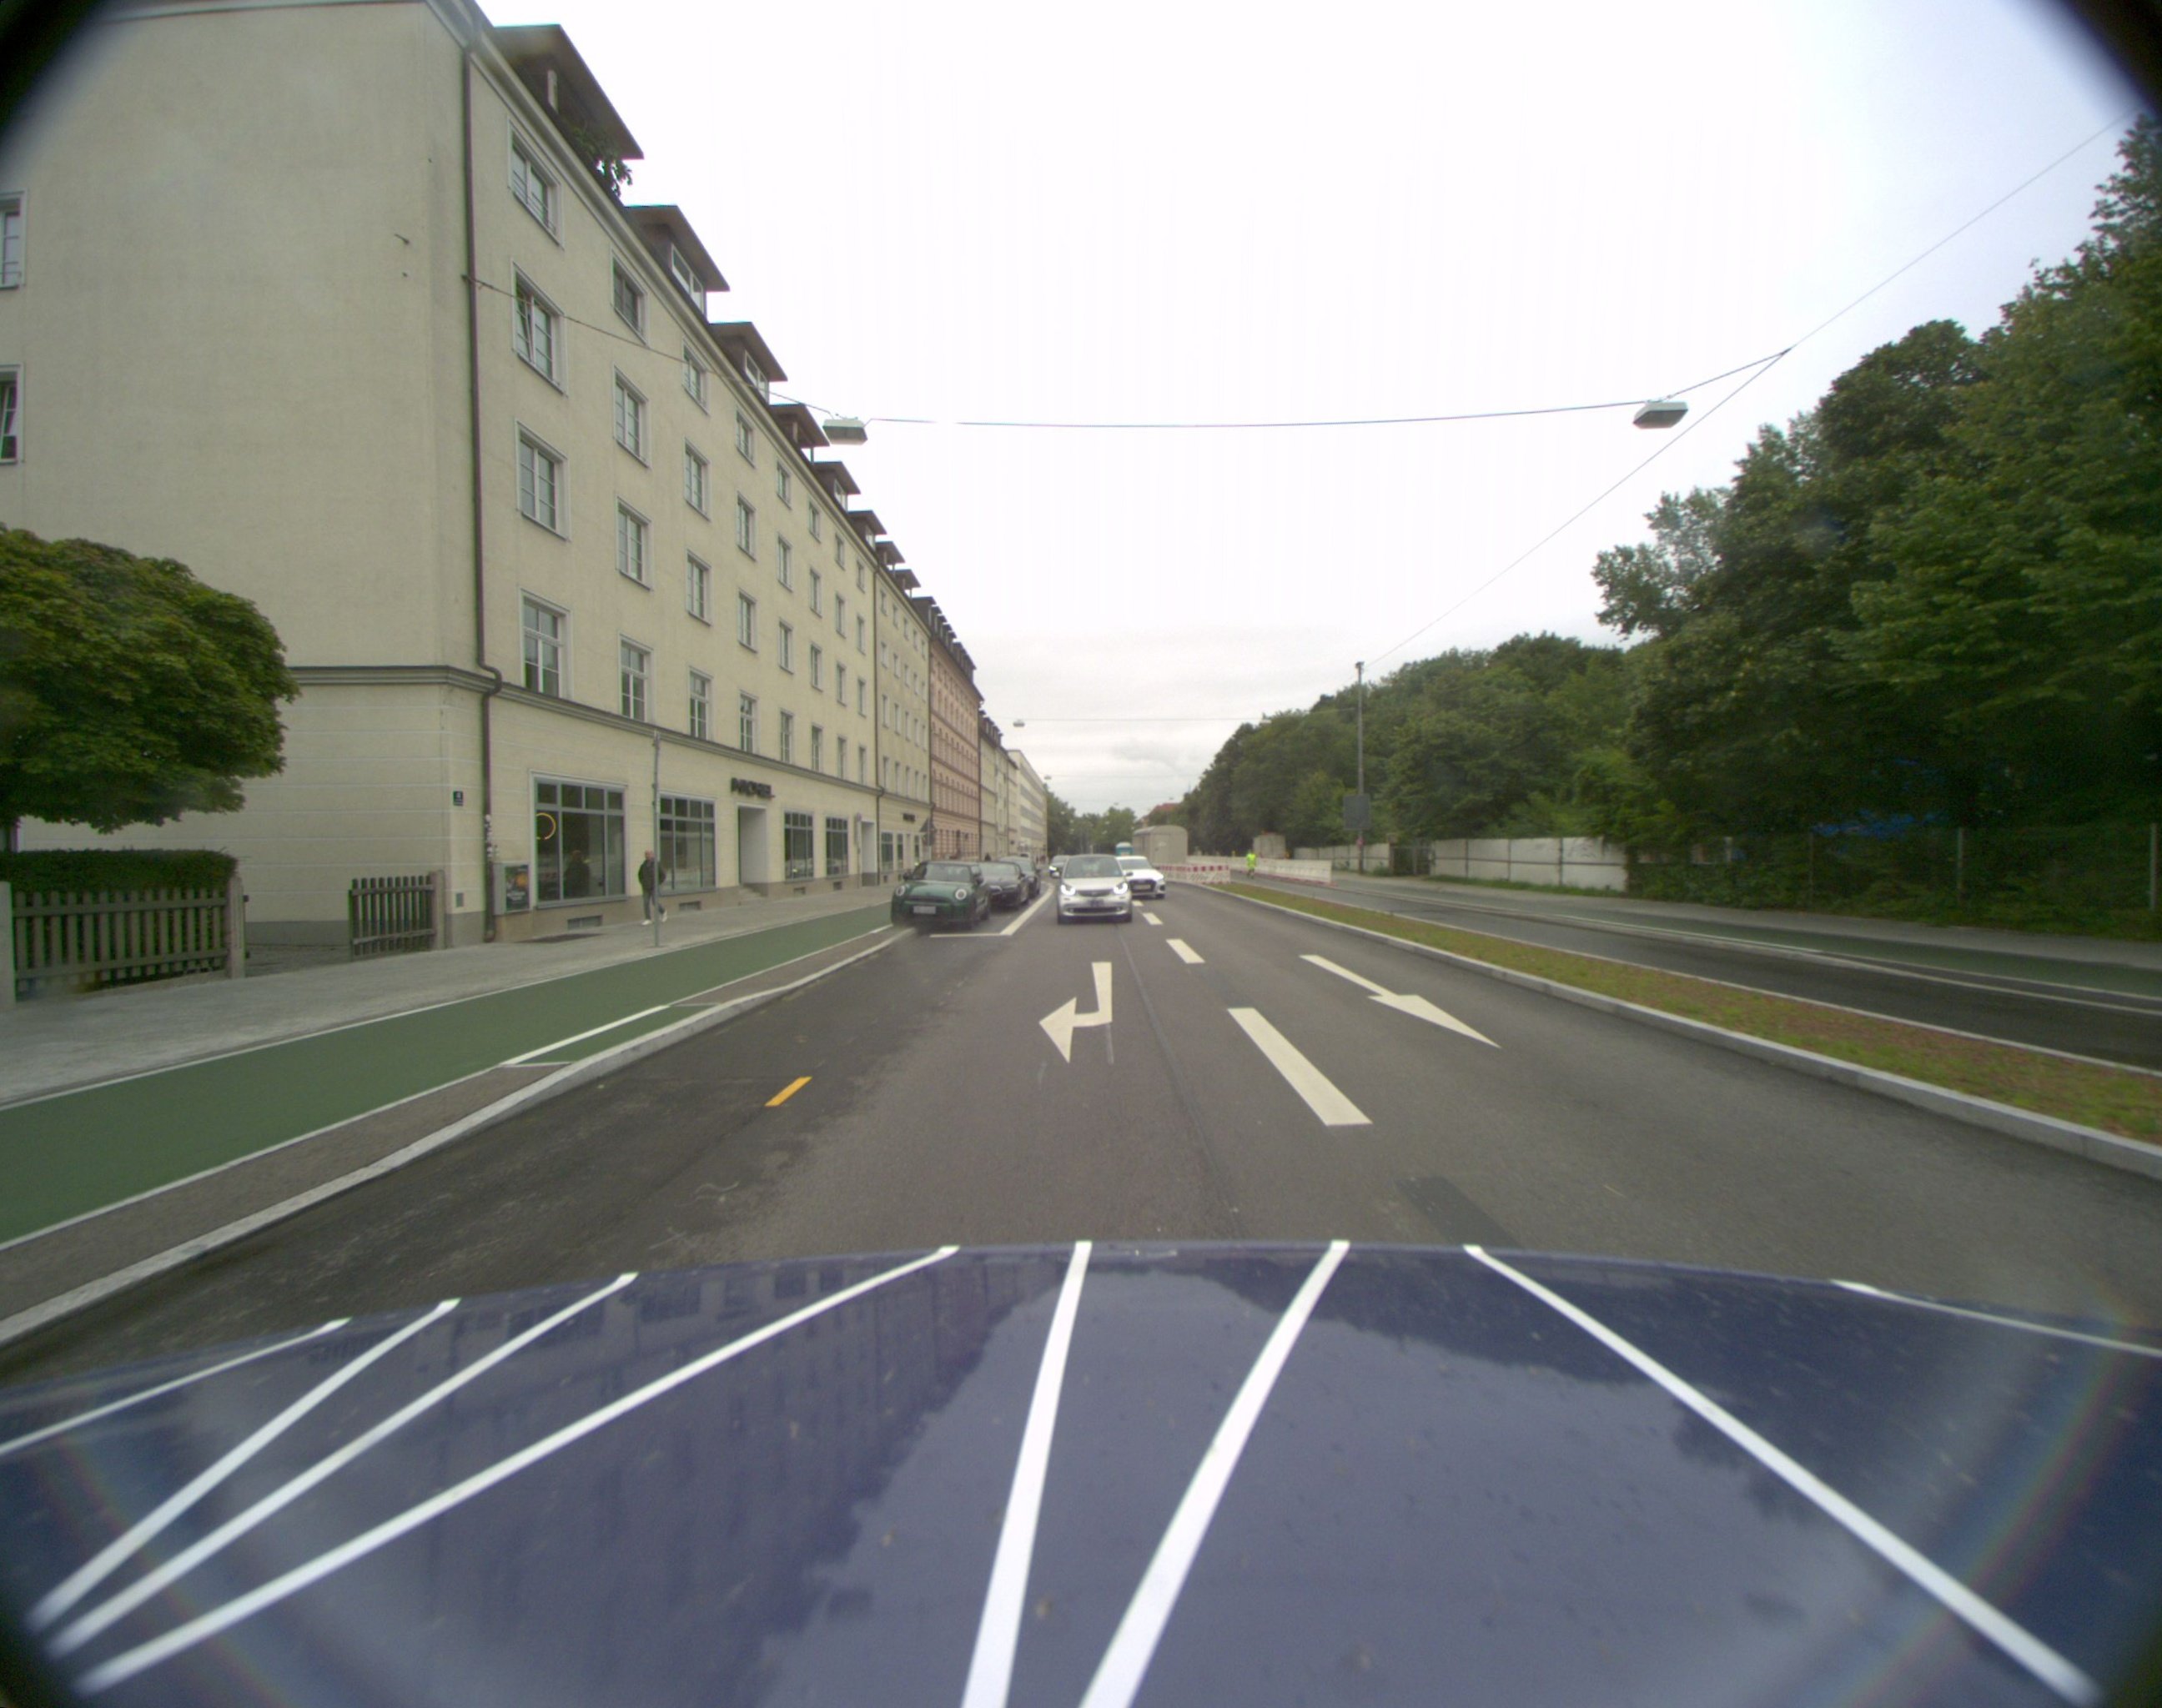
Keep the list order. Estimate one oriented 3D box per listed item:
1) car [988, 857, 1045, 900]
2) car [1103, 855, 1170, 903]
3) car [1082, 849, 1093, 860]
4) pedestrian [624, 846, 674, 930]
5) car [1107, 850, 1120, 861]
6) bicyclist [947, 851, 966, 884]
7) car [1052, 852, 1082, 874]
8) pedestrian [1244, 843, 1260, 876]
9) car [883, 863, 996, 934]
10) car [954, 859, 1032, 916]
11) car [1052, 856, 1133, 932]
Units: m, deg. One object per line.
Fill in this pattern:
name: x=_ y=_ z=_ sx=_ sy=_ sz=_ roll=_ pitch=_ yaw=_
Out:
car: x=-2.363 y=0.879 z=28.783 sx=1.739 sy=1.425 sz=4.000 roll=-1 pitch=0 yaw=1
car: x=1.810 y=0.786 z=26.096 sx=1.818 sy=1.416 sz=4.451 roll=-2 pitch=0 yaw=-1
car: x=1.257 y=0.089 z=139.778 sx=1.998 sy=2.002 sz=4.000 roll=0 pitch=1 yaw=1
pedestrian: x=-9.840 y=0.763 z=17.335 sx=0.655 sy=1.863 sz=0.826 roll=1 pitch=1 yaw=1
car: x=4.594 y=0.180 z=108.227 sx=1.739 sy=1.425 sz=4.000 roll=-1 pitch=0 yaw=1
bicyclist: x=-5.964 y=0.634 z=36.397 sx=0.724 sy=1.543 sz=0.858 roll=-2 pitch=1 yaw=1
car: x=-0.976 y=0.638 z=54.623 sx=1.922 sy=1.433 sz=4.306 roll=-3 pitch=0 yaw=1
pedestrian: x=10.609 y=0.358 z=47.211 sx=0.757 sy=2.002 sz=0.867 roll=-2 pitch=1 yaw=1
car: x=-3.066 y=0.921 z=17.300 sx=1.739 sy=1.313 sz=4.000 roll=-1 pitch=0 yaw=1
car: x=-2.497 y=0.922 z=22.470 sx=1.739 sy=1.425 sz=4.000 roll=-1 pitch=0 yaw=1
car: x=0.273 y=0.833 z=17.668 sx=1.633 sy=1.495 sz=4.000 roll=-1 pitch=0 yaw=1
